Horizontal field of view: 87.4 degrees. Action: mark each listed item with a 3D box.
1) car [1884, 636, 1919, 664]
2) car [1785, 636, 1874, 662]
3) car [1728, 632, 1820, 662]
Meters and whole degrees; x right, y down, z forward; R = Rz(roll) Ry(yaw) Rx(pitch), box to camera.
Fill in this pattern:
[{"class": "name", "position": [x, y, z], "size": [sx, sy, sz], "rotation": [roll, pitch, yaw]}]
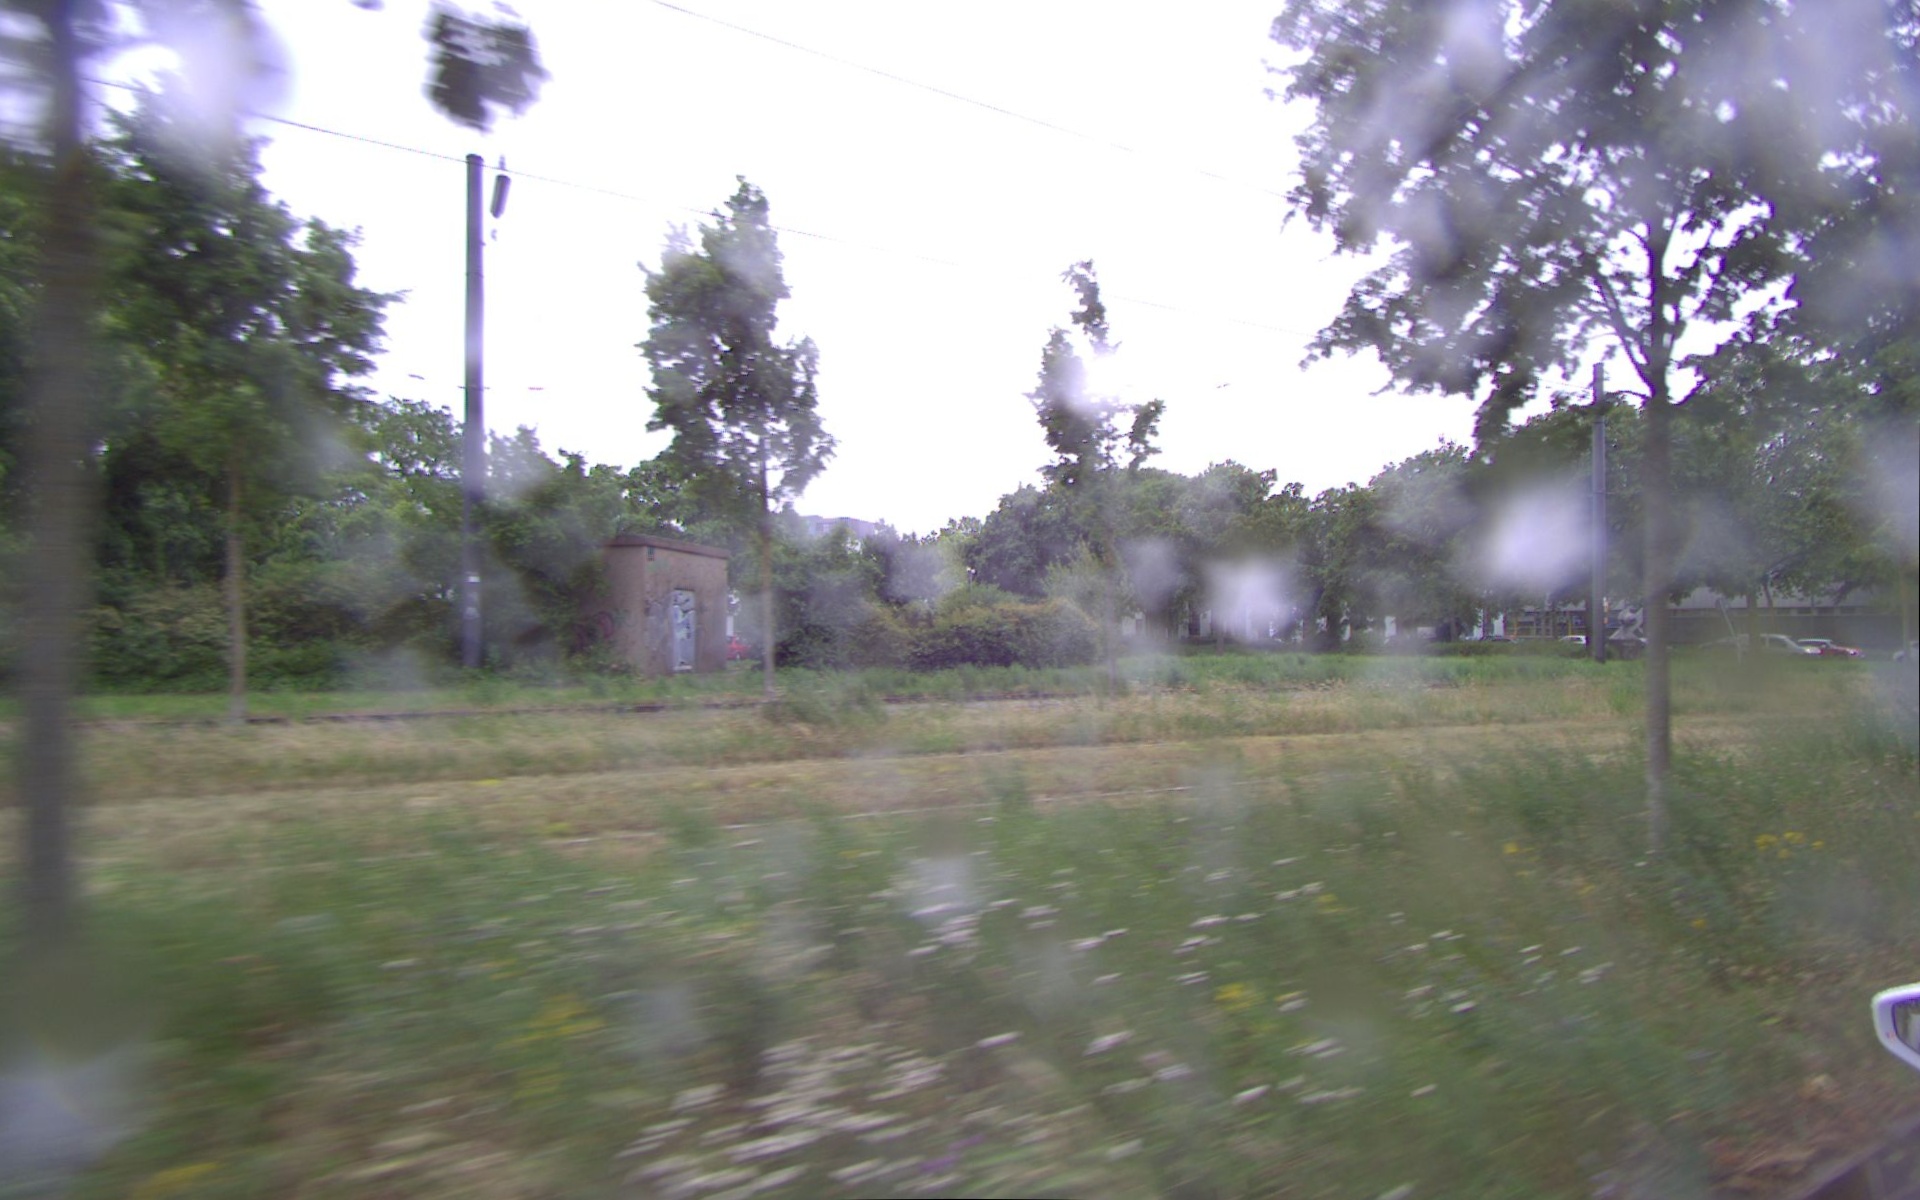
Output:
[{"class": "car", "position": [53.963, 2.765, 55.413], "size": [1.630, 1.518, 4.054], "rotation": [1, -3, -25]}, {"class": "car", "position": [54.194, 3.023, 62.682], "size": [1.632, 1.518, 3.891], "rotation": [0, -2, -29]}, {"class": "car", "position": [50.844, 2.916, 62.845], "size": [1.629, 1.820, 4.199], "rotation": [0, -1, -24]}]
